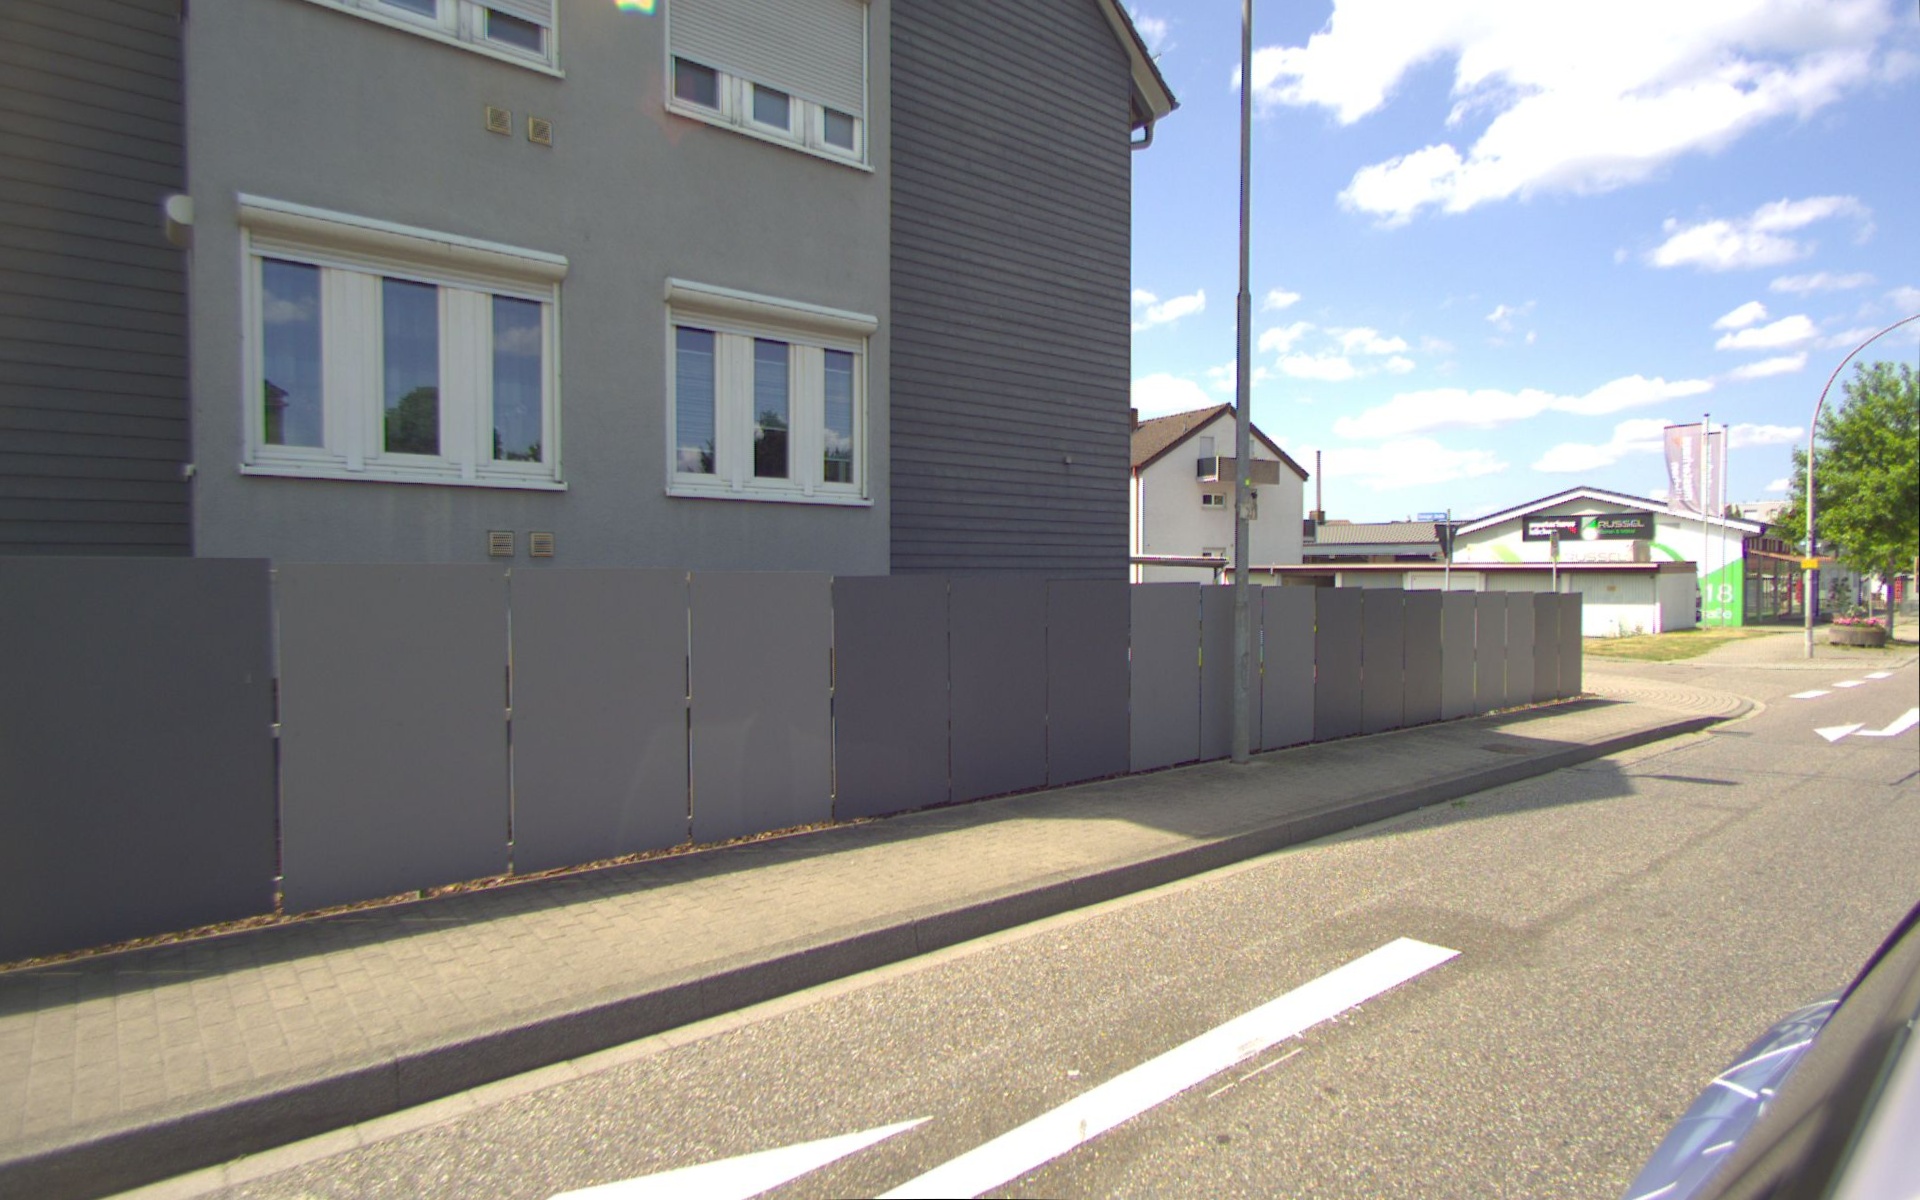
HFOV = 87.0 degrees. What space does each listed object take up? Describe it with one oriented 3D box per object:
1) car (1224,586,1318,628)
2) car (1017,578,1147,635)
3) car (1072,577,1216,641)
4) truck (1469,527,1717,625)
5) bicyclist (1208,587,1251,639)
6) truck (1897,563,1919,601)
[{"bbox_3d":[12.323,0.244,39.991,4.060,1.522,1.678,-1,1,-41],"label":"car"},{"bbox_3d":[3.737,0.215,30.729,3.784,1.607,1.741,2,0,-40],"label":"car"},{"bbox_3d":[5.282,0.272,28.786,4.139,1.669,1.741,2,0,-40],"label":"car"},{"bbox_3d":[25.530,-0.942,41.206,2.633,3.617,8.180,-2,2,-42],"label":"truck"},{"bbox_3d":[8.802,0.413,33.096,0.792,1.650,1.109,0,-1,-43],"label":"bicyclist"},{"bbox_3d":[72.536,-1.359,76.226,2.571,2.795,6.240,3,3,41],"label":"truck"}]
